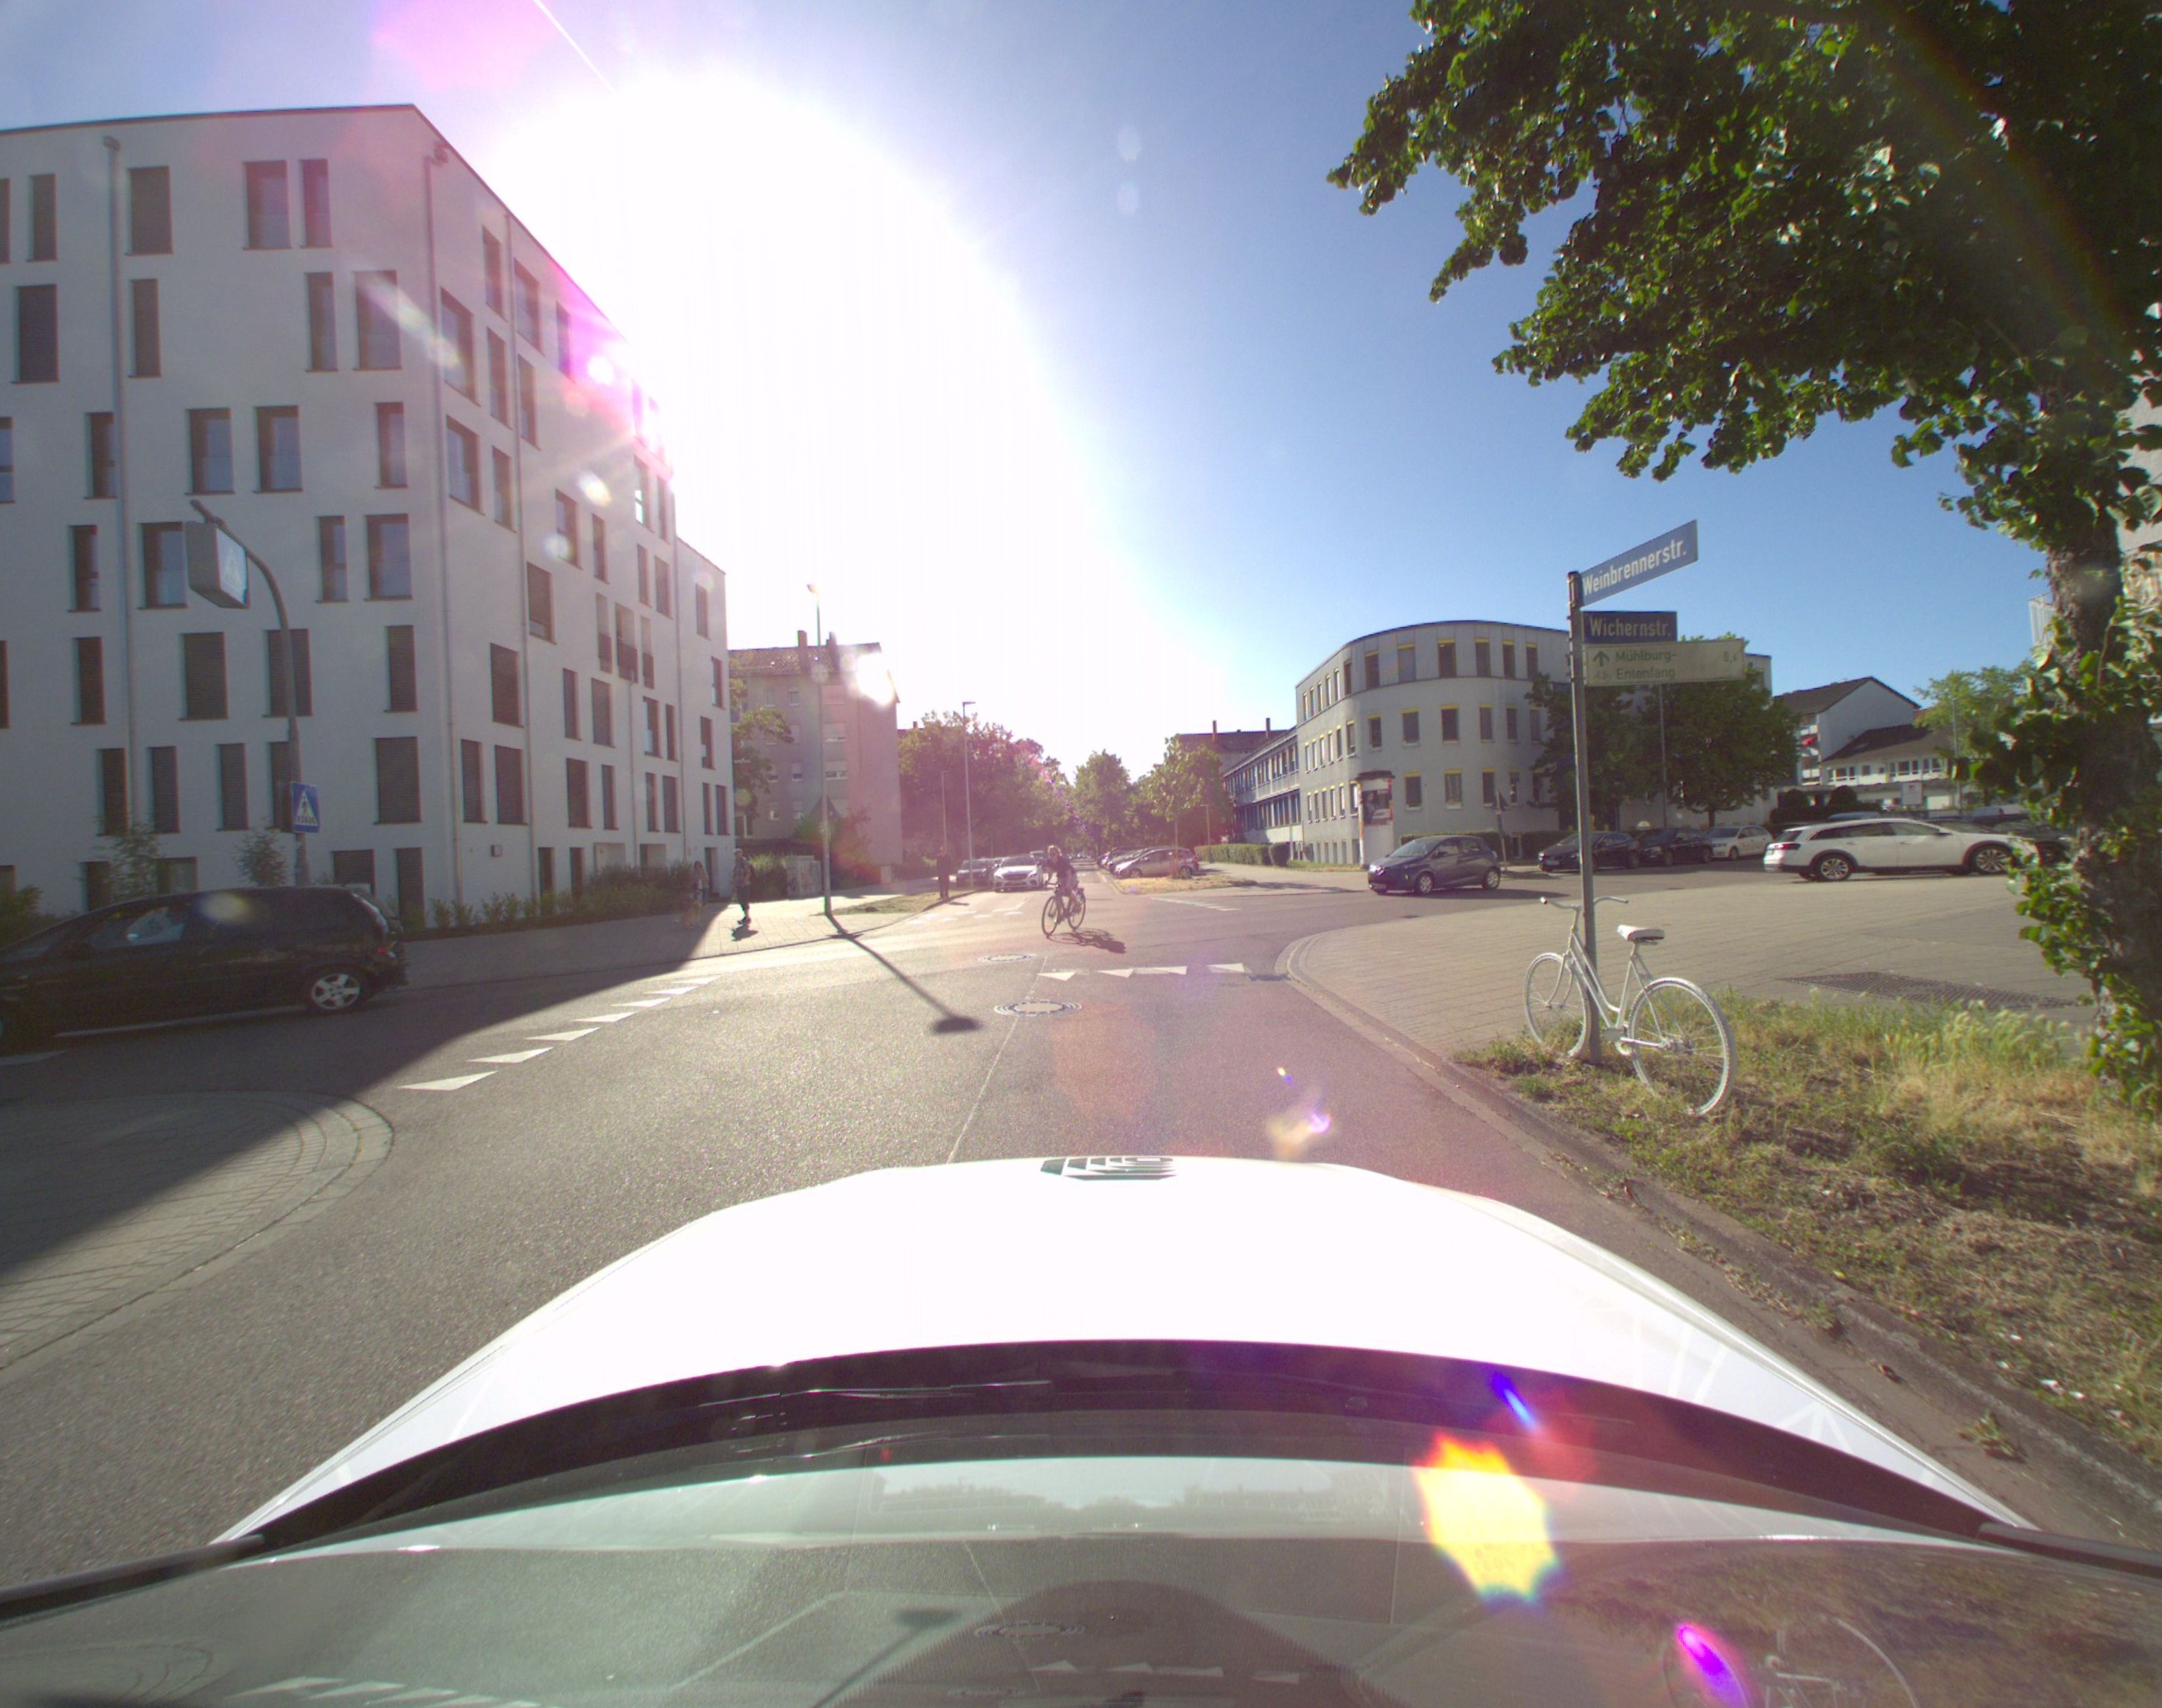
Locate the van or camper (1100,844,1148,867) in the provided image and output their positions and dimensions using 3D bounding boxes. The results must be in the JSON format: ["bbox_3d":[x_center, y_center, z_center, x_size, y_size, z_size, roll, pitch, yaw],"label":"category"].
[{"bbox_3d":[3.621,0.133,69.273,3.974,1.772,2.000,-1,-1,0],"label":"van or camper"}]

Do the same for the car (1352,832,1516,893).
[{"bbox_3d":[9.674,0.194,22.279,4.145,1.504,1.827,-1,0,-25],"label":"car"}]

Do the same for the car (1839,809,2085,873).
[{"bbox_3d":[23.462,-0.299,21.943,4.118,1.497,1.834,-2,-1,31],"label":"car"}]

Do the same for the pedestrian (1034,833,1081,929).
[{"bbox_3d":[-0.405,0.468,14.576,0.686,1.640,1.048,0,-1,6],"label":"pedestrian"}]

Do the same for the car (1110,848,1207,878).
[{"bbox_3d":[4.031,0.480,42.737,4.860,1.274,1.726,-3,0,-4],"label":"car"}]

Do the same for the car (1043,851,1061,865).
[{"bbox_3d":[-4.297,0.645,120.512,1.982,2.014,4.009,0,0,8],"label":"car"}]

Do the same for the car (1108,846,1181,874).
[{"bbox_3d":[3.748,0.357,48.755,4.192,1.596,1.999,0,-1,-2],"label":"car"}]

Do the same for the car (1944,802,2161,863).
[{"bbox_3d":[29.824,-0.612,25.166,3.945,1.490,1.627,-5,-4,33],"label":"car"}]

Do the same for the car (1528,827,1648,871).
[{"bbox_3d":[18.510,-0.215,29.719,4.233,1.410,1.779,-3,1,-27],"label":"car"}]

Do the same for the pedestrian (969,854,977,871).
[{"bbox_3d":[-10.390,0.809,78.544,0.633,1.664,0.698,-2,0,-5],"label":"pedestrian"}]

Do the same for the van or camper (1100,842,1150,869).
[{"bbox_3d":[3.571,0.129,66.514,3.974,2.014,2.000,-1,-1,0],"label":"van or camper"}]

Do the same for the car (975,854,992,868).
[{"bbox_3d":[-9.762,0.699,81.548,1.269,1.225,2.665,-3,0,3],"label":"car"}]

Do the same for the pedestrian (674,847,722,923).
[{"bbox_3d":[-11.133,0.880,23.650,0.766,2.120,0.964,-1,2,44],"label":"pedestrian"}]

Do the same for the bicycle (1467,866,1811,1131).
[{"bbox_3d":[3.079,0.684,4.805,0.527,1.194,2.028,-2,0,-3],"label":"bicycle"}]

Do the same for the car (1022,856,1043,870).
[{"bbox_3d":[-5.121,0.967,86.950,1.836,1.398,4.001,-2,-1,1],"label":"car"}]

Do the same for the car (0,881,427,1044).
[{"bbox_3d":[-10.361,1.135,9.559,4.133,1.530,1.723,0,-1,-38],"label":"car"}]

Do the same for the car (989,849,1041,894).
[{"bbox_3d":[-2.647,0.659,33.535,1.881,1.504,4.634,-3,2,-3],"label":"car"}]

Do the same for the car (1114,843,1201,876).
[{"bbox_3d":[3.784,0.262,40.700,4.079,1.492,1.727,-2,-1,-3],"label":"car"}]

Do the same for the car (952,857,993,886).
[{"bbox_3d":[-5.594,0.894,42.332,1.662,1.420,3.998,0,0,-1],"label":"car"}]

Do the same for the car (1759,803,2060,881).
[{"bbox_3d":[20.244,-0.252,20.268,4.811,1.464,1.986,-5,-1,30],"label":"car"}]

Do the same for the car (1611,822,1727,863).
[{"bbox_3d":[23.168,-0.471,32.045,4.390,1.479,1.898,-2,0,-27],"label":"car"}]

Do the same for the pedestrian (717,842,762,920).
[{"bbox_3d":[-8.405,0.651,20.073,0.844,1.885,0.788,0,-1,-10],"label":"pedestrian"}]

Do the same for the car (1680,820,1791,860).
[{"bbox_3d":[27.548,-0.606,34.263,4.635,1.530,1.898,-2,0,-27],"label":"car"}]

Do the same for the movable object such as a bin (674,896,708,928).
[{"bbox_3d":[-9.266,1.371,19.374,0.270,0.680,0.851,-3,0,7],"label":"movable object such as a bin"}]

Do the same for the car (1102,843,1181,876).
[{"bbox_3d":[3.354,0.309,45.935,4.268,1.765,1.998,0,-1,-2],"label":"car"}]

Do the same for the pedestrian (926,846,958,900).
[{"bbox_3d":[-4.603,0.608,27.050,0.869,1.714,0.978,-2,0,-3],"label":"pedestrian"}]

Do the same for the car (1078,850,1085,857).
[{"bbox_3d":[0.104,-0.207,229.909,1.987,1.747,4.000,-2,0,0],"label":"car"}]

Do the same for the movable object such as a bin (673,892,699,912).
[{"bbox_3d":[-11.731,1.434,24.214,0.269,0.541,0.690,-2,0,21],"label":"movable object such as a bin"}]

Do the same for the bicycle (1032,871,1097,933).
[{"bbox_3d":[-0.271,0.845,14.915,0.544,1.012,1.928,-2,-1,19],"label":"bicycle"}]

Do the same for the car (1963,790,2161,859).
[{"bbox_3d":[32.799,-0.930,26.876,4.474,1.898,2.061,-4,-3,24],"label":"car"}]
